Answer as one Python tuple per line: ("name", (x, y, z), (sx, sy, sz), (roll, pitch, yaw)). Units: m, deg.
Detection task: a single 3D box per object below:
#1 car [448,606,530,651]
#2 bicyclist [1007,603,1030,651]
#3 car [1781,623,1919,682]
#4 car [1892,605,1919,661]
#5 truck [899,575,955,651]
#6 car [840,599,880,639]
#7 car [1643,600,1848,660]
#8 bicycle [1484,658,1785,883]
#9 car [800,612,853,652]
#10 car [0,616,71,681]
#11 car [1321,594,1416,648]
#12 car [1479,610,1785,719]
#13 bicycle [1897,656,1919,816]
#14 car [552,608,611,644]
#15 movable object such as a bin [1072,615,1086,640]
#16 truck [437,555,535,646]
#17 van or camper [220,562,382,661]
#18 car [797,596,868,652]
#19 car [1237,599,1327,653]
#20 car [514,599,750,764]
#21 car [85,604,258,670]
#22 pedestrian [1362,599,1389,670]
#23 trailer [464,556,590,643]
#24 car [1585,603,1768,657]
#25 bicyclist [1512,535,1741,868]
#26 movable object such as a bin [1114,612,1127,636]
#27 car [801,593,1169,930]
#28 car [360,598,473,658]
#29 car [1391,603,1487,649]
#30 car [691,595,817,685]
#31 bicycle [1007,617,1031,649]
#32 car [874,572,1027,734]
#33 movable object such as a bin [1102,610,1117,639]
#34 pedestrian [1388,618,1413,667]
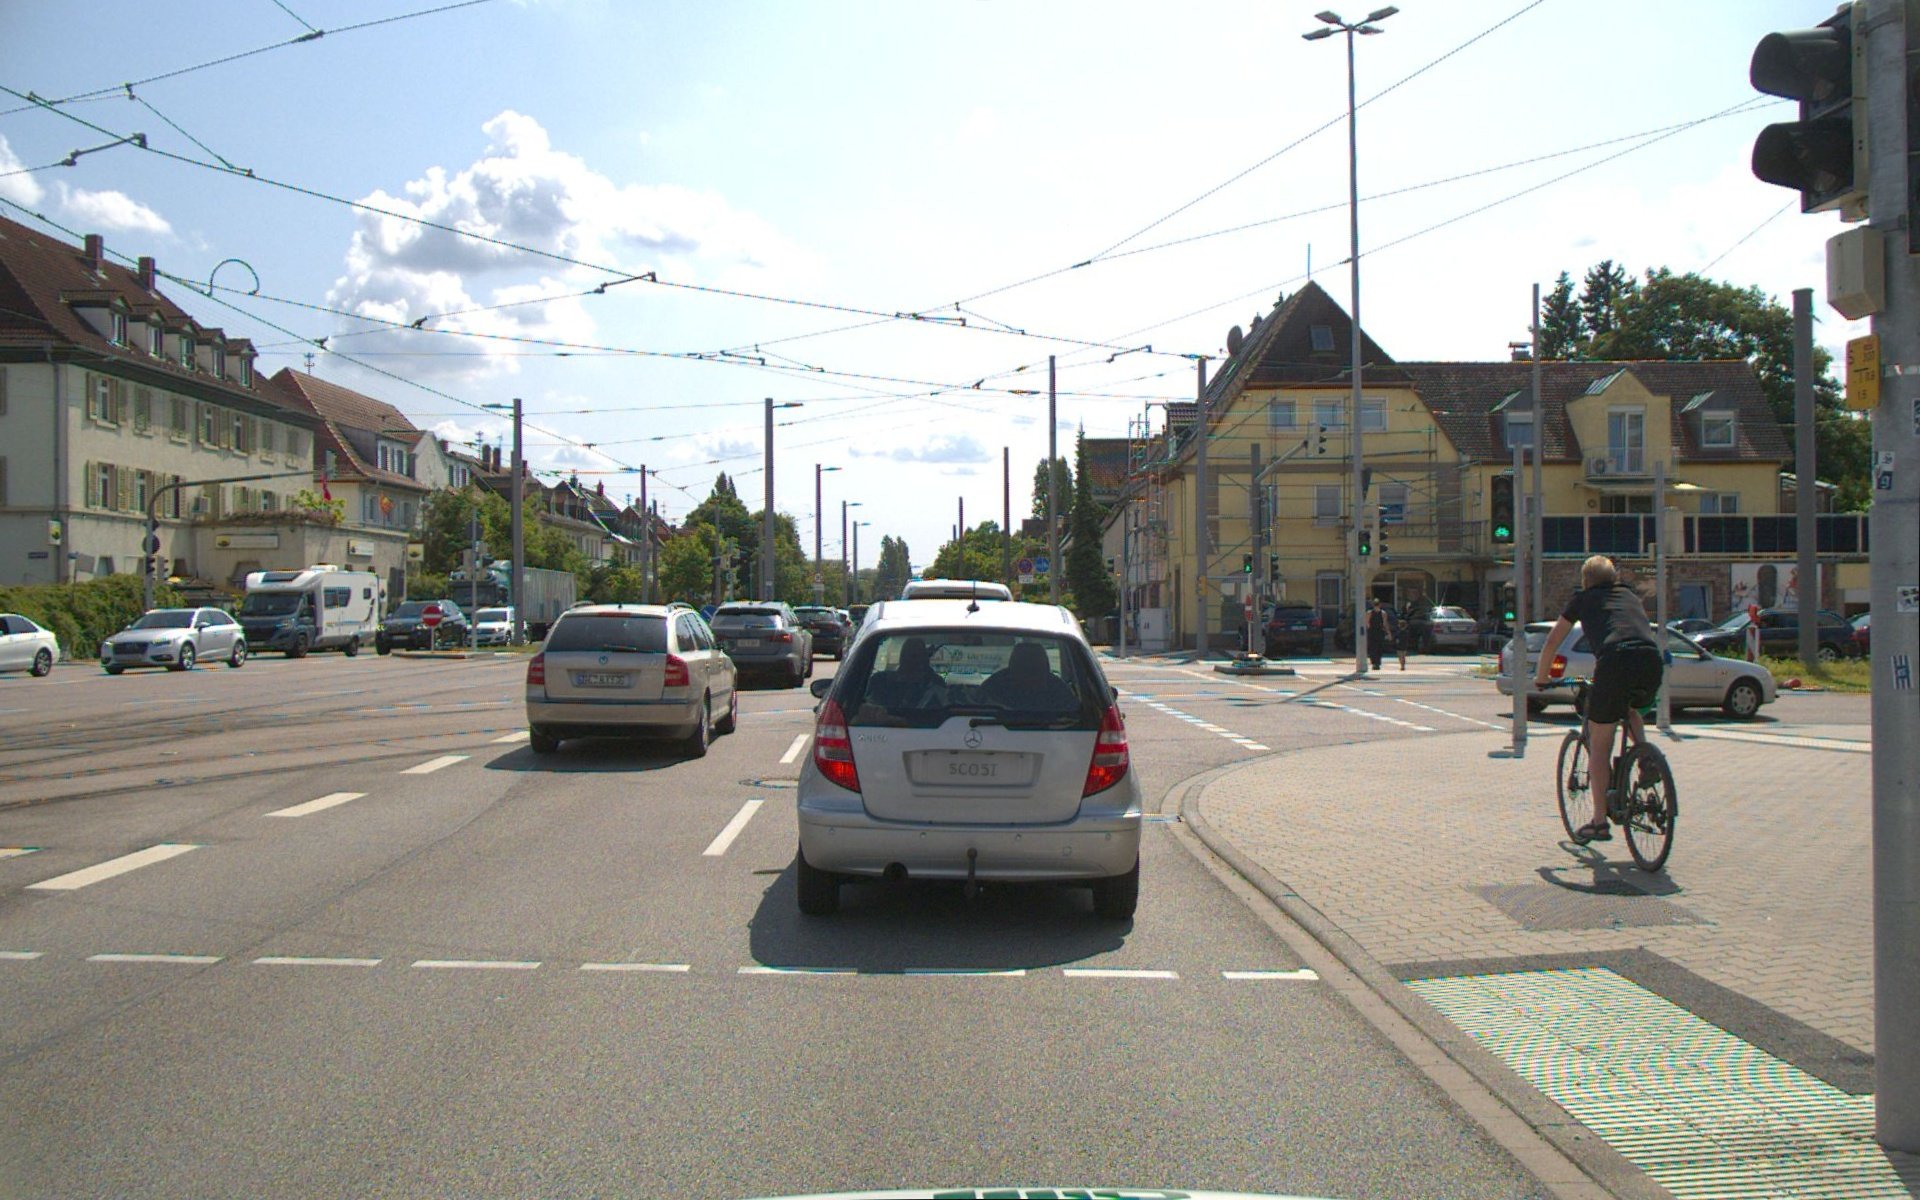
("car", (-18.312, 1.117, 64.466), (1.953, 1.579, 4.176), (-4, -1, -1))
("bicyclist", (2.180, 1.004, 61.702), (0.638, 1.768, 0.982), (1, -1, -8))
("car", (24.932, 1.435, 45.154), (4.230, 1.500, 1.738), (1, -1, -5))
("car", (25.759, 0.772, 41.133), (4.231, 1.352, 1.738), (-1, -1, -5))
("truck", (-1.237, 0.491, 60.358), (1.815, 2.597, 5.851), (1, -1, -3))
("car", (-4.841, 0.935, 80.435), (1.815, 1.875, 3.916), (1, -1, -3))
("car", (19.308, 0.728, 40.739), (4.231, 1.352, 1.738), (-1, -1, -5))
("bicycle", (3.920, 0.941, 9.820), (0.812, 1.094, 1.969), (-2, 0, -5))
("car", (-4.958, 1.177, 61.884), (1.815, 1.413, 3.916), (1, -1, -3))
("car", (-21.438, 1.051, 36.065), (1.649, 1.375, 4.345), (1, -1, 1))
("car", (13.087, 0.675, 53.203), (1.953, 1.624, 4.130), (1, -1, -1))
("car", (9.996, 0.924, 24.715), (3.931, 1.427, 1.732), (0, 3, -11))
("bicycle", (6.894, 0.915, 11.458), (0.454, 1.036, 1.748), (0, -1, 38))
("car", (-18.243, 1.244, 79.837), (1.757, 1.665, 4.471), (-1, -1, 1))
("movable object such as a bin", (4.542, 1.061, 63.199), (0.501, 0.934, 0.741), (0, -1, -1))
("truck", (-21.493, 0.001, 75.265), (2.545, 3.888, 5.668), (-3, 0, 1))
("van or camper", (-21.305, 0.373, 53.924), (2.277, 2.981, 7.752), (0, 0, -1))
("car", (-3.461, 0.664, 45.521), (1.815, 1.413, 4.511), (1, -1, -3))
("car", (10.182, 0.824, 52.583), (1.953, 1.624, 4.130), (1, -1, -1))
("car", (-3.285, 0.748, 17.323), (1.696, 1.474, 4.122), (1, 0, -1))
("car", (-17.938, 0.827, 37.864), (1.953, 1.375, 4.176), (1, -1, -1))
("pedestrian", (9.886, 0.812, 39.317), (0.535, 1.672, 0.401), (1, -1, 3))
("trailer", (-21.369, -0.070, 82.526), (2.546, 3.888, 12.838), (-3, 0, 1))
("car", (19.314, 0.814, 44.658), (4.230, 1.331, 1.738), (1, -1, -5))
("bicyclist", (3.896, 0.558, 9.756), (0.812, 1.825, 1.083), (-2, 0, -5))
("movable object such as a bin", (6.692, 1.006, 69.132), (0.458, 0.963, 0.557), (-1, -1, -2))
("car", (0.005, 0.784, 9.717), (1.695, 1.543, 4.013), (1, -1, -4))
("car", (-17.670, 0.877, 54.027), (1.952, 1.807, 4.879), (-2, 0, 1))
("car", (15.341, 0.840, 53.153), (1.830, 1.375, 4.130), (1, -1, -1))
("car", (-3.746, 0.711, 30.742), (1.878, 1.503, 4.560), (1, -1, -2))
("bicycle", (2.187, 1.224, 61.616), (0.638, 1.137, 1.585), (1, -1, -8))
("car", (-0.166, 0.630, 20.693), (1.695, 1.793, 4.014), (1, -1, -2))
("movable object such as a bin", (5.726, 0.941, 63.337), (0.501, 1.124, 0.855), (0, -1, -1))
("pedestrian", (10.446, 1.005, 39.248), (0.478, 1.156, 0.388), (1, -1, -1))
